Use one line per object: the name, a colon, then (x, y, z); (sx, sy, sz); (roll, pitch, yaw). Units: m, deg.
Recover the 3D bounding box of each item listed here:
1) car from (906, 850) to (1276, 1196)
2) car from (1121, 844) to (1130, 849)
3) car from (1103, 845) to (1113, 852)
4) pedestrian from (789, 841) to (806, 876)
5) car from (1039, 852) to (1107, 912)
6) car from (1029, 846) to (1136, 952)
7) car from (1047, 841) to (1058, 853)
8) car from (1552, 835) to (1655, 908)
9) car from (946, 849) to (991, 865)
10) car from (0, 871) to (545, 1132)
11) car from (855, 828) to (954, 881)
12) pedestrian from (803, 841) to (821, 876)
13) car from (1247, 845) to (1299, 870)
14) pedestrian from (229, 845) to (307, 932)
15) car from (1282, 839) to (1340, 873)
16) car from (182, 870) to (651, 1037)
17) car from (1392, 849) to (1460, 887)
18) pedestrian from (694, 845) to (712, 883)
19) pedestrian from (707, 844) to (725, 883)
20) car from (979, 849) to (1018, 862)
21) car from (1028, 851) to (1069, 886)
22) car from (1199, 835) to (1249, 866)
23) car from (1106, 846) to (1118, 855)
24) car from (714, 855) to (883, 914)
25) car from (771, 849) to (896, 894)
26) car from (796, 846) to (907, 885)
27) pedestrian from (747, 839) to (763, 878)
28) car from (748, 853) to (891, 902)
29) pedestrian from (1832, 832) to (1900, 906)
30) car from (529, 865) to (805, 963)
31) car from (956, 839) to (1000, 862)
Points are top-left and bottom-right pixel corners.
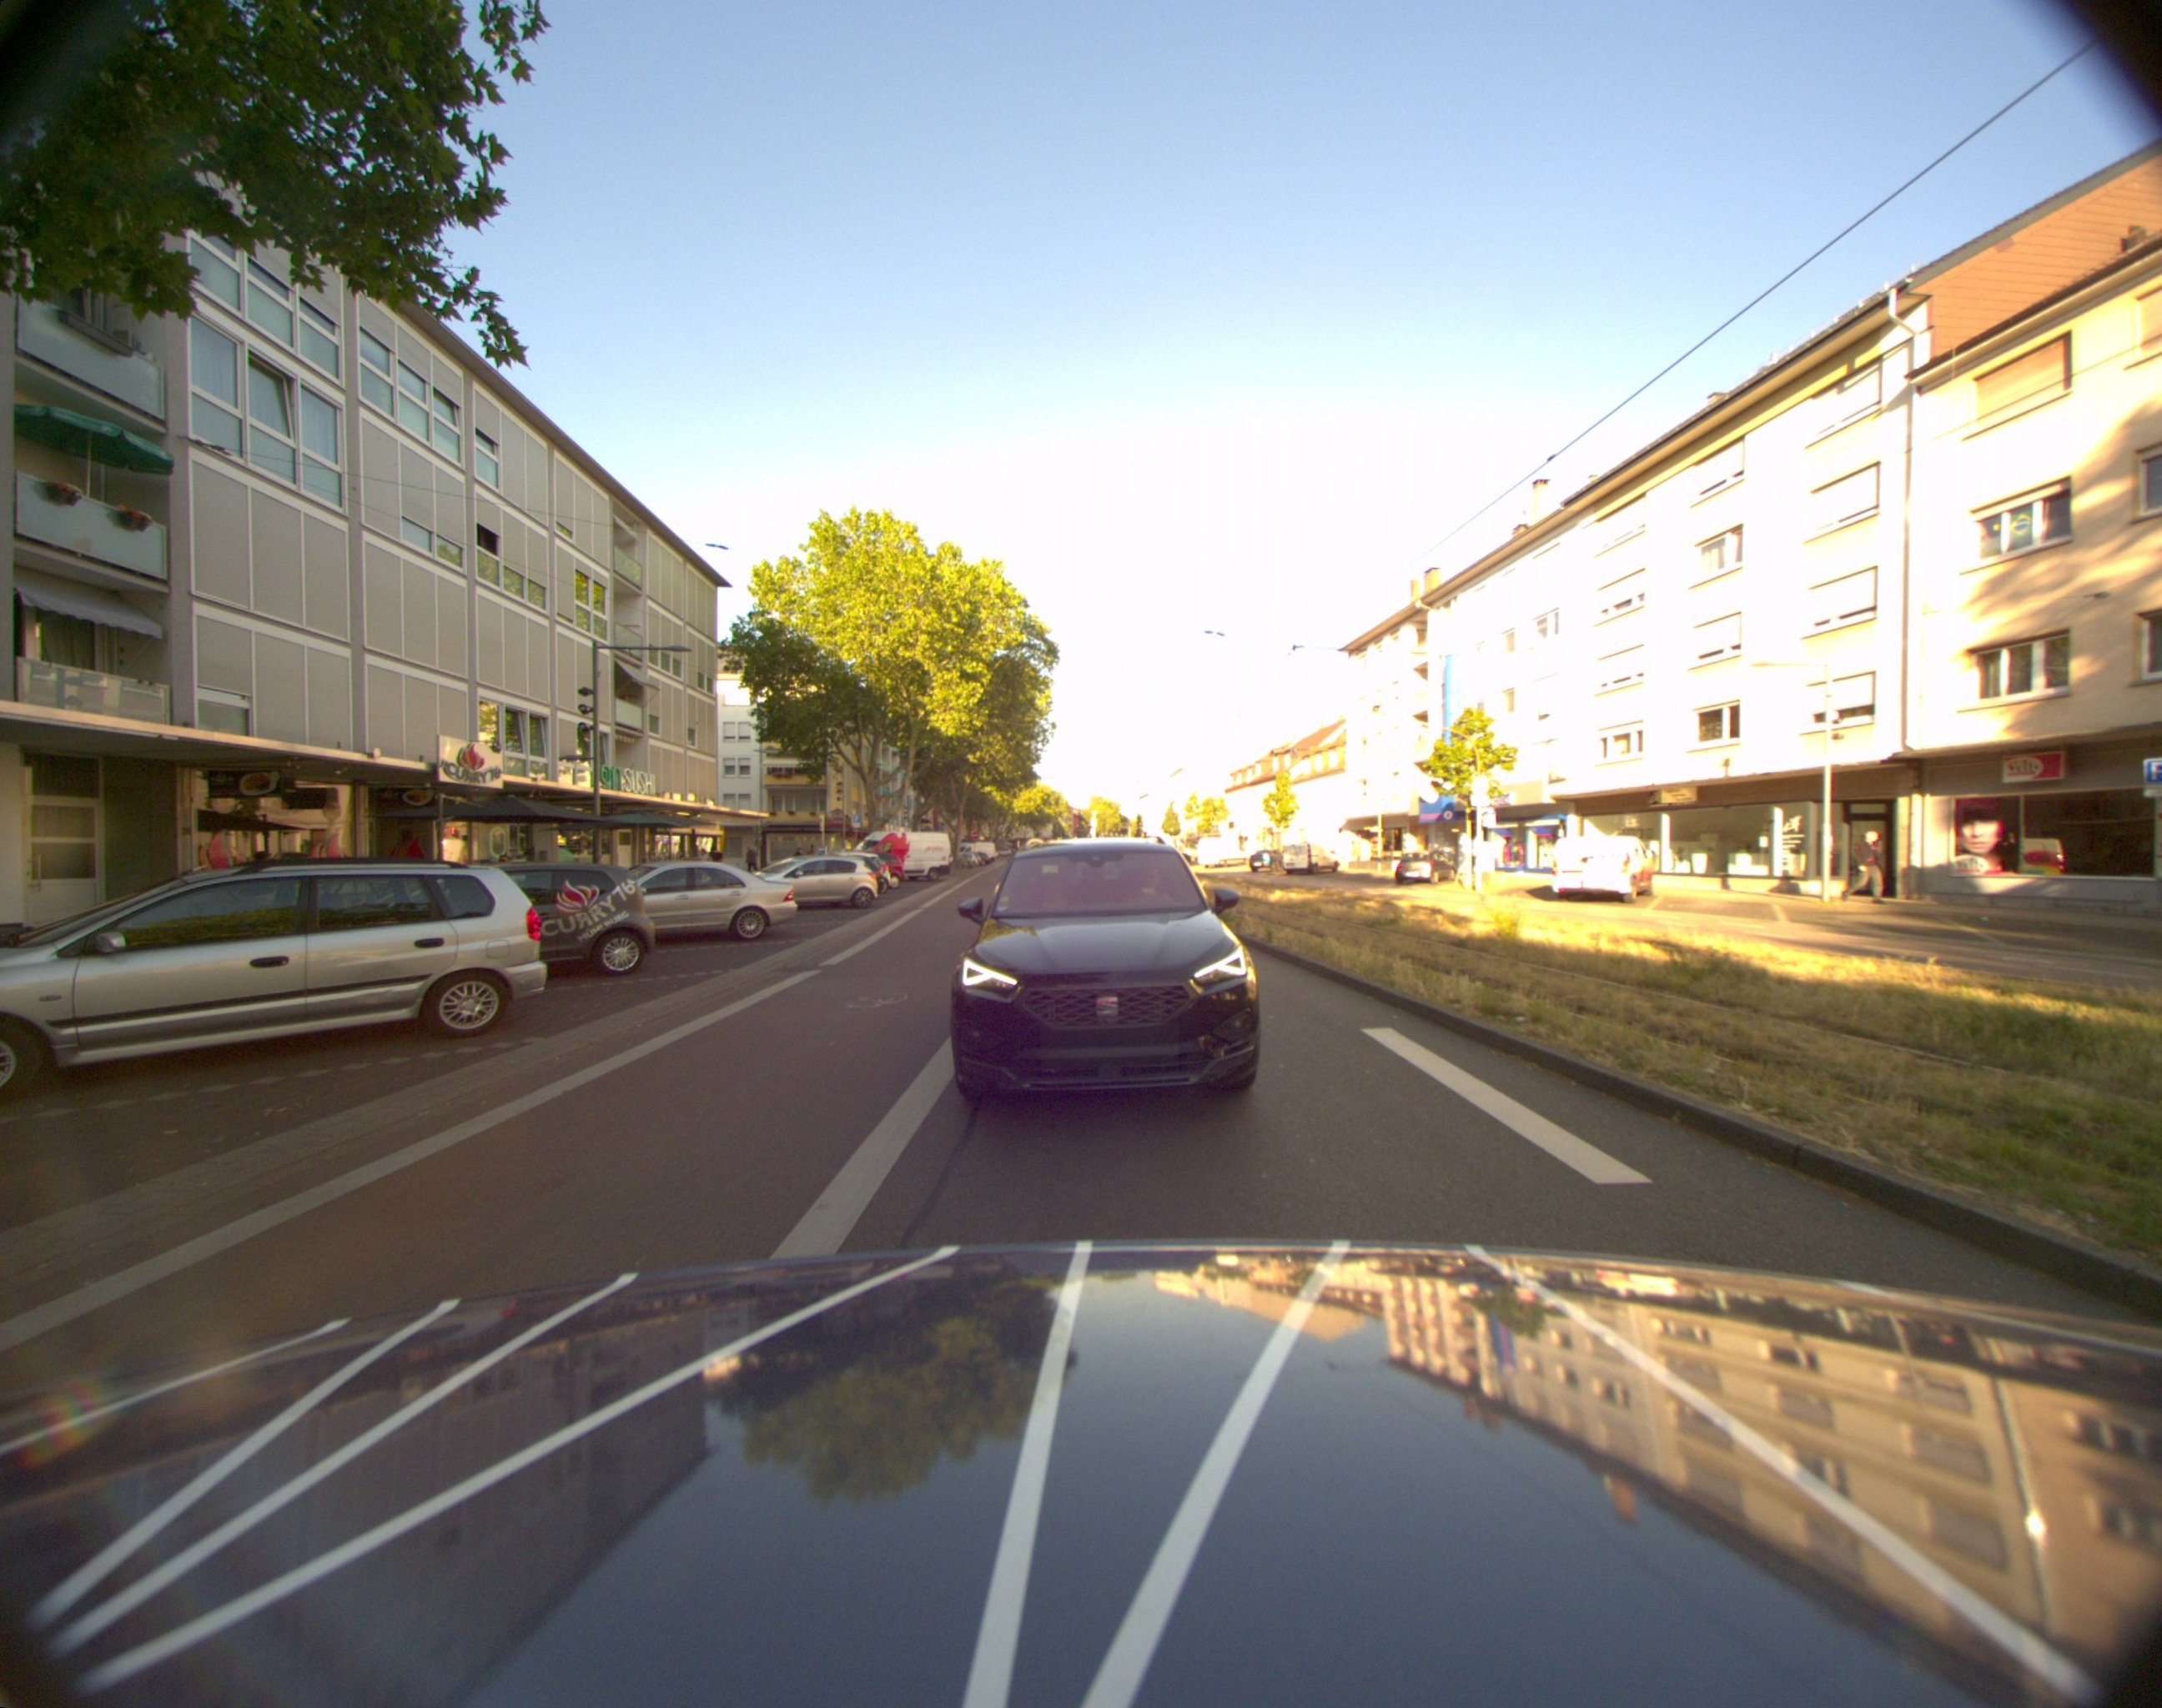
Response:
car: (0.080, 0.837, 5.791); (1.785, 1.639, 3.999); (-2, 1, 1)
car: (14.651, -2.448, 248.821); (2.497, 1.871, 5.276); (0, 1, 6)
car: (6.460, -1.375, 182.247); (1.999, 1.783, 3.998); (0, 1, -4)
pedestrian: (-15.938, 0.259, 42.794); (0.748, 1.964, 0.575); (0, 1, -4)
car: (-0.232, 0.718, 21.808); (1.729, 1.467, 3.999); (-2, 1, -1)
car: (0.006, 0.705, 14.202); (1.646, 1.646, 3.999); (-2, 1, -1)
car: (-7.609, -1.901, 201.532); (2.660, 2.989, 7.131); (-2, 1, -2)
car: (15.582, 0.444, 22.574); (1.853, 1.888, 4.007); (-1, 2, 44)
car: (-10.755, 0.273, 72.822); (1.778, 1.396, 3.943); (1, 1, 44)
car: (-6.873, 0.964, 6.009); (1.672, 1.533, 3.993); (2, 1, 38)
car: (-8.720, 0.034, 37.860); (4.606, 2.479, 1.672); (0, 0, -44)
pedestrian: (-15.114, 0.246, 42.753); (0.748, 2.002, 0.764); (0, 1, -4)
car: (13.801, 0.233, 54.520); (3.922, 1.704, 1.853); (-2, 1, -45)
pedestrian: (-15.127, 0.621, 14.158); (0.583, 1.573, 0.771); (0, 1, 2)
car: (14.535, 0.101, 47.846); (1.853, 1.927, 4.513); (-1, 1, 40)
car: (-7.591, 0.960, 9.044); (1.672, 1.420, 3.950); (2, 1, 38)
car: (15.436, 0.584, 33.891); (1.731, 1.489, 4.008); (-1, 1, 40)
pedestrian: (-16.356, 0.437, 32.883); (0.537, 1.630, 0.478); (0, 1, -4)
pedestrian: (-15.806, 0.406, 32.927); (0.545, 1.710, 0.457); (0, 1, -4)
car: (-8.915, 0.158, 82.370); (1.778, 1.326, 3.943); (1, 1, 44)
car: (-1.463, 0.639, 35.888); (1.729, 1.443, 4.227); (-2, 1, -1)
car: (12.972, -0.374, 68.642); (1.922, 2.599, 6.601); (-1, 1, 34)
car: (5.777, -0.594, 140.230); (1.846, 1.571, 4.449); (0, 1, -2)
car: (-7.534, 0.777, 20.495); (3.950, 1.420, 1.555); (1, 1, -45)
car: (-8.875, 0.634, 27.319); (3.948, 1.421, 1.672); (2, 2, -32)
car: (-9.209, 0.463, 30.552); (3.948, 1.421, 1.672); (1, 2, -32)
pedestrian: (-17.160, 0.228, 40.002); (0.749, 2.002, 0.558); (-1, 1, -26)
car: (-8.265, 0.723, 24.116); (3.949, 1.420, 1.672); (1, 1, -34)
pedestrian: (19.668, 0.361, 19.047); (0.757, 1.817, 0.917); (-1, 1, 1)
car: (-7.125, 0.933, 13.376); (1.592, 1.393, 3.950); (2, 1, 41)
car: (-11.487, -0.423, 85.058); (1.973, 2.454, 4.605); (1, 1, 44)
